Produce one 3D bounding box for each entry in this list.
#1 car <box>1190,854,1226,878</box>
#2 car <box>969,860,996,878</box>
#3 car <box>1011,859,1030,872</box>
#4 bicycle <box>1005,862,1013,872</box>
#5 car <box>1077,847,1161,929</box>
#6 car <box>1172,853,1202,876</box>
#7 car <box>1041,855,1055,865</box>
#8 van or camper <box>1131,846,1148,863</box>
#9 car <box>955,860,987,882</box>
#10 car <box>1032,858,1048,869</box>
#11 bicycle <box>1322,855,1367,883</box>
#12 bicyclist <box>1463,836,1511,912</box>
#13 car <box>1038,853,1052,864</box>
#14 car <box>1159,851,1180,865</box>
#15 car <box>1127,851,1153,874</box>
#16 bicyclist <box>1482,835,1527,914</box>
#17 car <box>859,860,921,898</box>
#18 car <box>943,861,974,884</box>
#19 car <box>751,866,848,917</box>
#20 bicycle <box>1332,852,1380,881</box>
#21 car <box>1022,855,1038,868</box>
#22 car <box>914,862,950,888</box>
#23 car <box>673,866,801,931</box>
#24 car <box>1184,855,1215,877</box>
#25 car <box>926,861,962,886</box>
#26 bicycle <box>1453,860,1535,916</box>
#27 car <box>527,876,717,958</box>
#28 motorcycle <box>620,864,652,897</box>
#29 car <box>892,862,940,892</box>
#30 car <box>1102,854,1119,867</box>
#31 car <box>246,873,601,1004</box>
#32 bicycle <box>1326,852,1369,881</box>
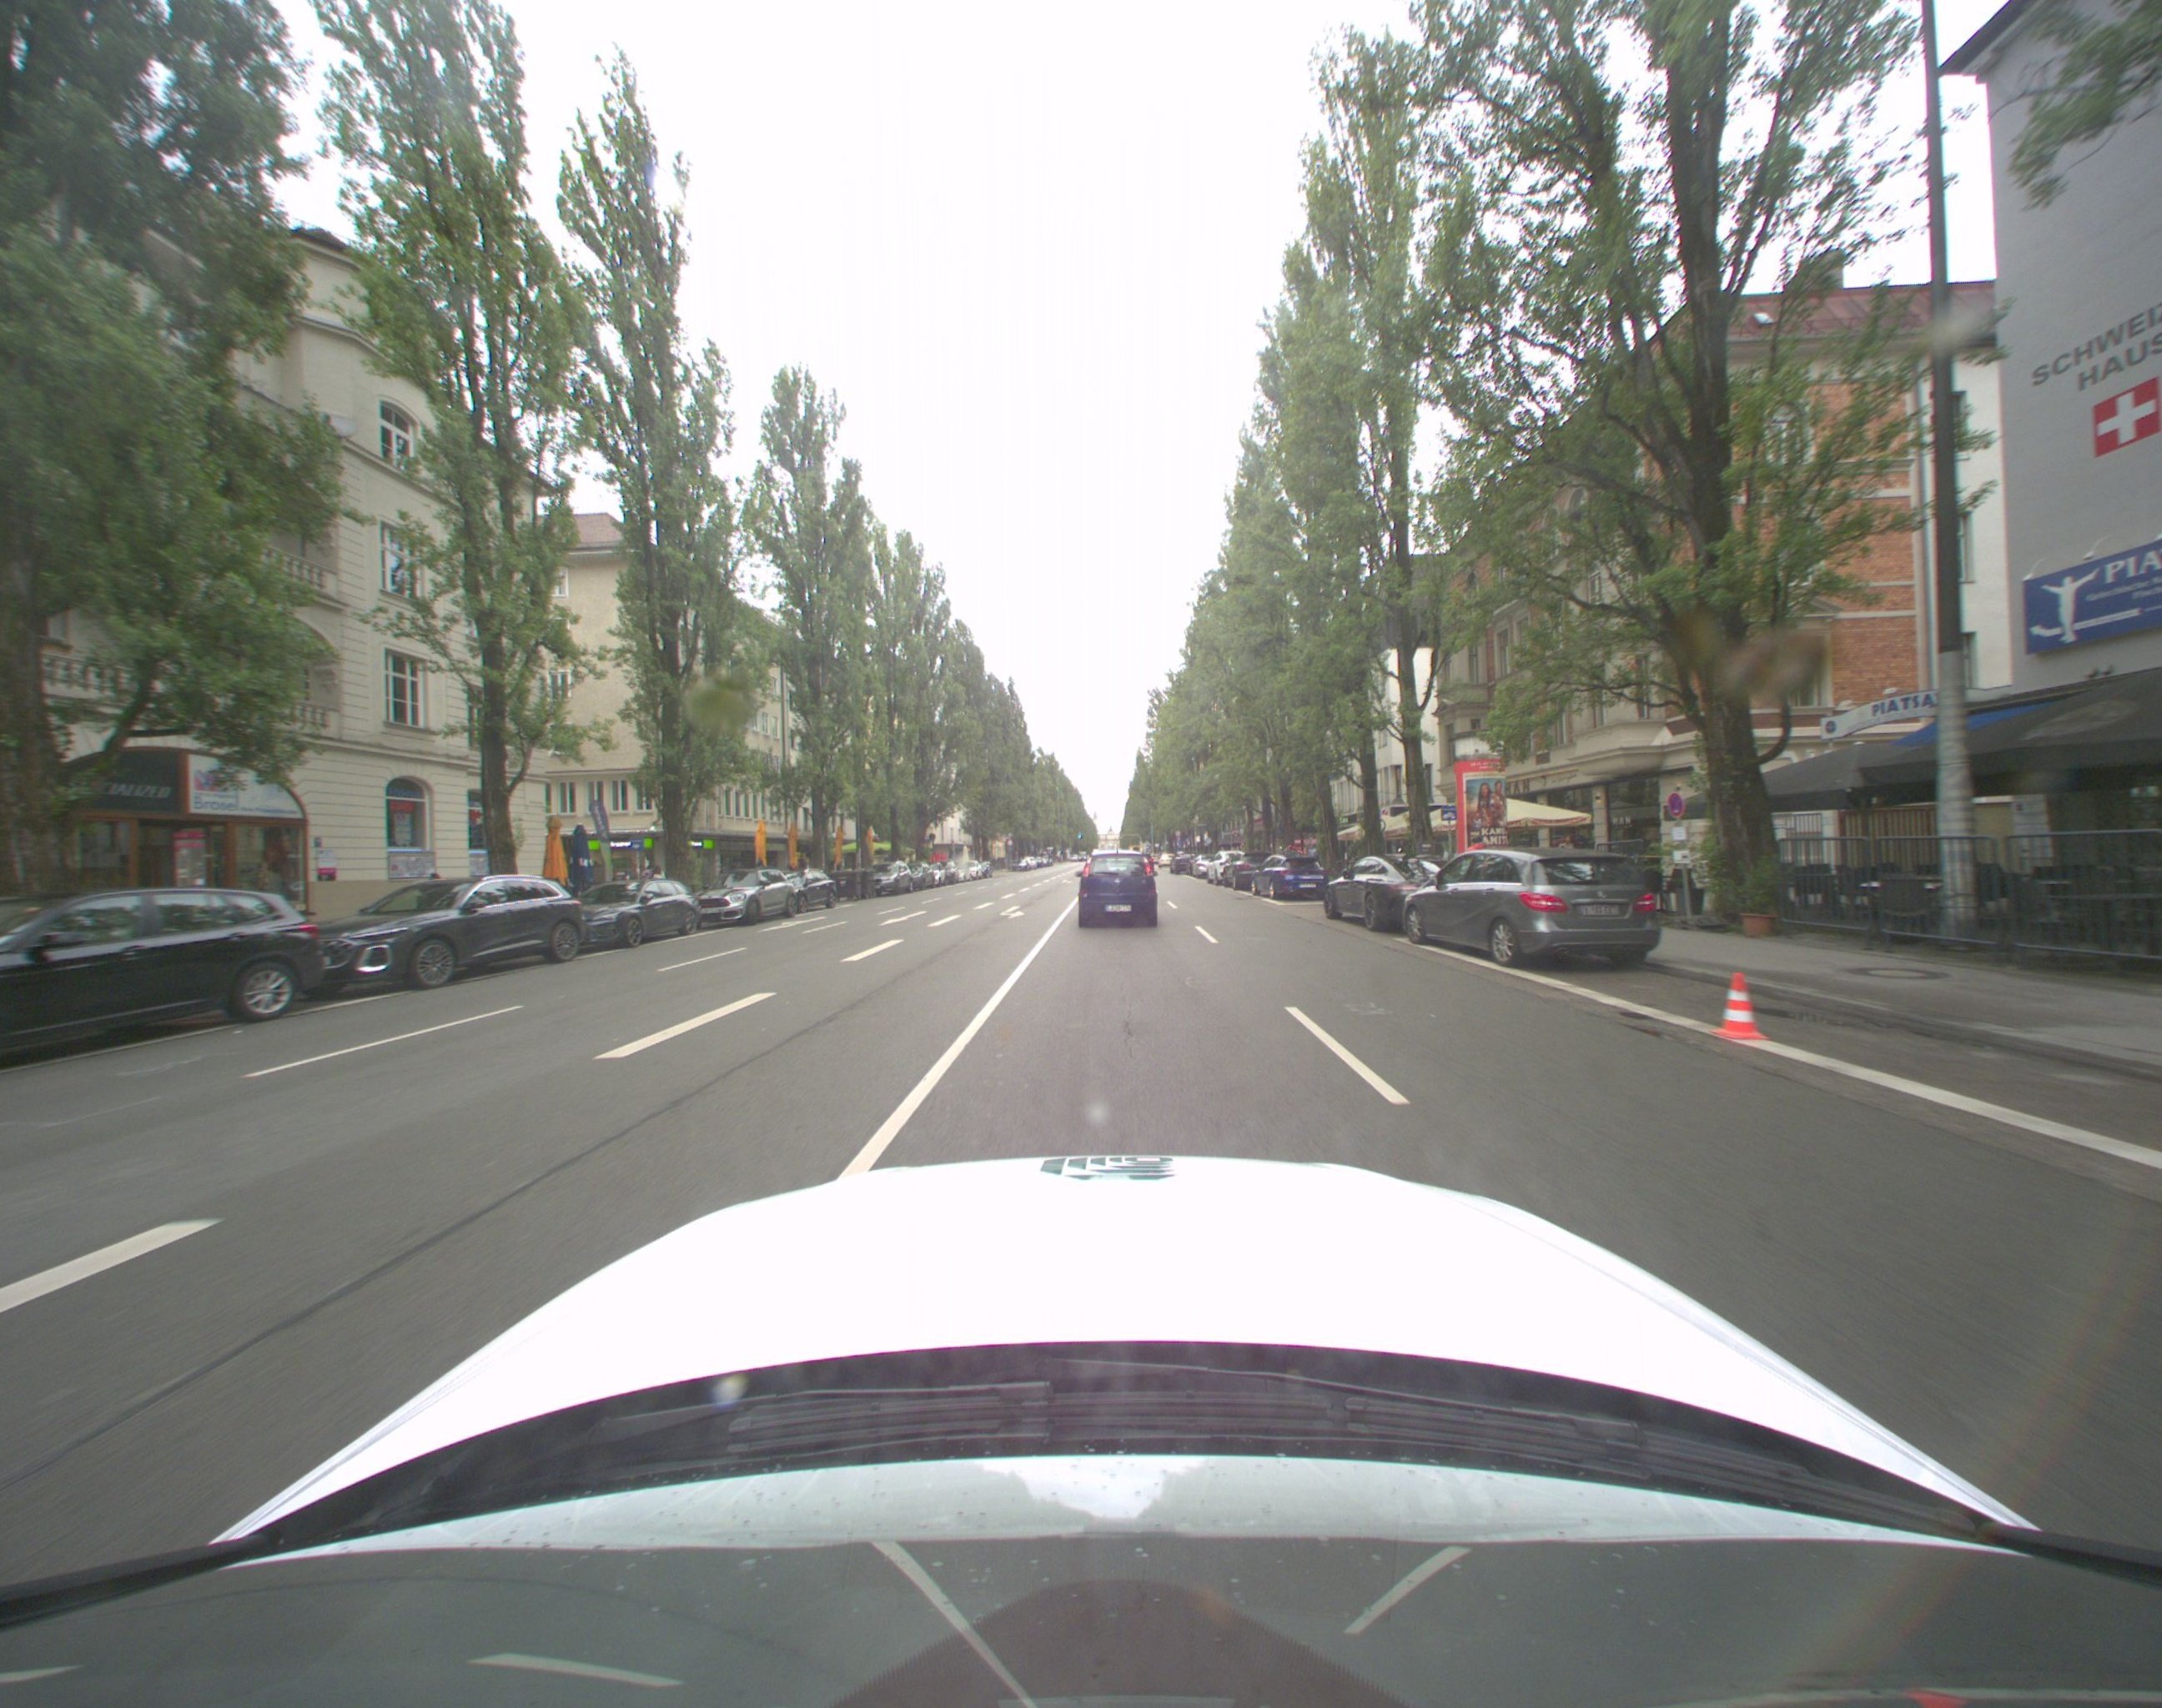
[{"bbox_3d":[7.636,0.717,49.333,1.664,1.406,4.128,0,0,1],"label":"car"},{"bbox_3d":[-8.144,1.221,67.691,1.579,1.447,3.395,-2,0,4],"label":"car"},{"bbox_3d":[-7.053,1.321,95.008,1.823,1.420,3.813,-2,0,2],"label":"car"},{"bbox_3d":[-7.881,1.424,89.481,0.664,1.006,2.461,-2,0,-1],"label":"bicycle"},{"bbox_3d":[0.811,0.694,18.561,1.675,1.641,4.001,-1,0,1],"label":"car"},{"bbox_3d":[7.709,0.734,59.352,1.790,1.594,4.107,0,0,2],"label":"car"},{"bbox_3d":[-5.479,0.968,134.719,1.986,1.662,4.001,-2,0,1],"label":"car"},{"bbox_3d":[9.482,0.046,131.845,2.467,2.581,5.848,-2,0,2],"label":"van or camper"},{"bbox_3d":[-8.422,1.283,62.602,1.829,1.546,4.086,-2,0,0],"label":"car"},{"bbox_3d":[-5.975,1.361,118.516,1.955,1.530,4.000,-2,0,1],"label":"car"},{"bbox_3d":[11.642,0.657,35.997,1.826,1.139,0.370,-2,0,-4],"label":"bicycle"},{"bbox_3d":[8.766,0.417,17.625,0.619,1.588,0.753,-2,0,1],"label":"bicyclist"},{"bbox_3d":[-5.611,0.670,128.097,1.954,1.549,3.780,-2,0,1],"label":"car"},{"bbox_3d":[9.379,0.382,86.408,1.890,1.362,3.902,-2,0,2],"label":"car"},{"bbox_3d":[4.334,0.623,60.210,1.699,1.574,4.002,-2,0,2],"label":"car"},{"bbox_3d":[8.746,0.411,16.828,0.619,1.588,0.481,-2,0,1],"label":"bicyclist"},{"bbox_3d":[-9.461,1.201,40.743,1.858,1.654,4.616,-4,0,1],"label":"car"},{"bbox_3d":[-8.785,1.276,58.550,1.566,1.534,2.926,-2,0,4],"label":"car"},{"bbox_3d":[-9.875,1.279,28.936,1.656,1.504,4.316,-4,0,3],"label":"car"},{"bbox_3d":[11.813,0.540,35.037,1.865,1.192,0.575,-2,0,-3],"label":"bicycle"},{"bbox_3d":[-6.616,1.004,106.028,1.648,1.562,3.459,-2,0,2],"label":"car"},{"bbox_3d":[-9.160,1.280,50.247,1.625,1.428,2.984,-2,0,1],"label":"car"},{"bbox_3d":[-9.758,1.199,23.488,1.775,1.575,4.134,-2,0,2],"label":"car"},{"bbox_3d":[7.931,0.764,54.751,1.675,1.415,3.584,0,0,1],"label":"car"},{"bbox_3d":[-9.080,1.259,54.110,1.836,1.565,4.174,-2,0,-3],"label":"car"},{"bbox_3d":[8.772,0.691,17.418,0.624,1.087,2.264,-2,0,1],"label":"bicycle"},{"bbox_3d":[-10.251,1.315,18.676,1.680,1.424,4.685,-4,0,-1],"label":"car"},{"bbox_3d":[-16.148,0.940,29.581,0.476,1.139,1.807,-2,-1,-11],"label":"motorcycle"},{"bbox_3d":[-9.169,1.250,45.539,1.691,1.550,4.083,-2,0,1],"label":"car"},{"bbox_3d":[3.475,0.782,96.608,1.986,1.497,4.001,-2,0,1],"label":"car"},{"bbox_3d":[-10.327,1.203,13.405,1.795,1.594,4.636,-3,0,4],"label":"car"},{"bbox_3d":[11.637,0.545,35.542,1.707,1.192,0.420,-2,0,-3],"label":"bicycle"}]
